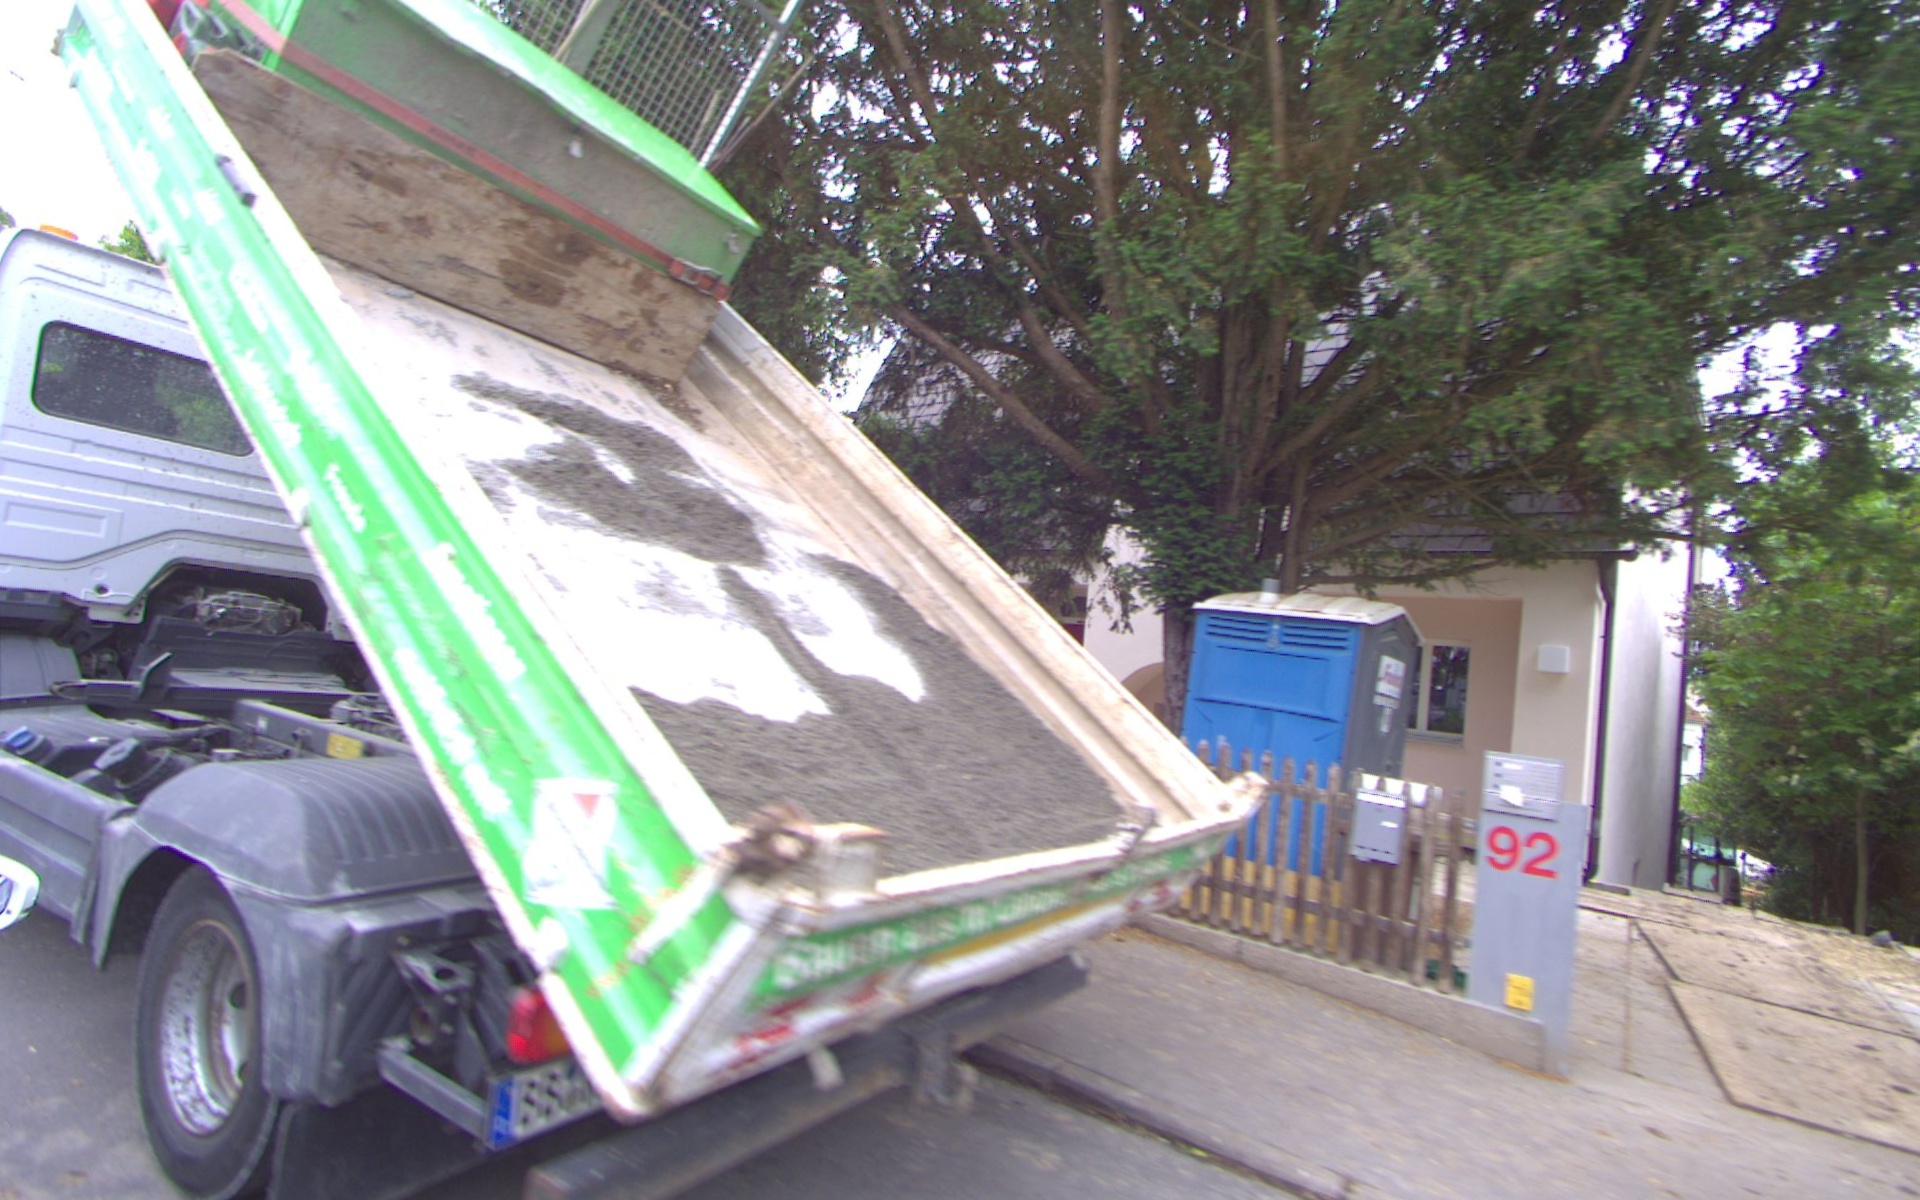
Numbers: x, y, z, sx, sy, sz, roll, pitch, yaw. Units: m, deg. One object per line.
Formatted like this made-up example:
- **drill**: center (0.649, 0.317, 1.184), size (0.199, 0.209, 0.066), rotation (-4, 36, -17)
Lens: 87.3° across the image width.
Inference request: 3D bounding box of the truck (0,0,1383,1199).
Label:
- **truck**: center (-2.369, -1.093, 4.234), size (7.069, 4.801, 2.530), rotation (7, -3, 33)
